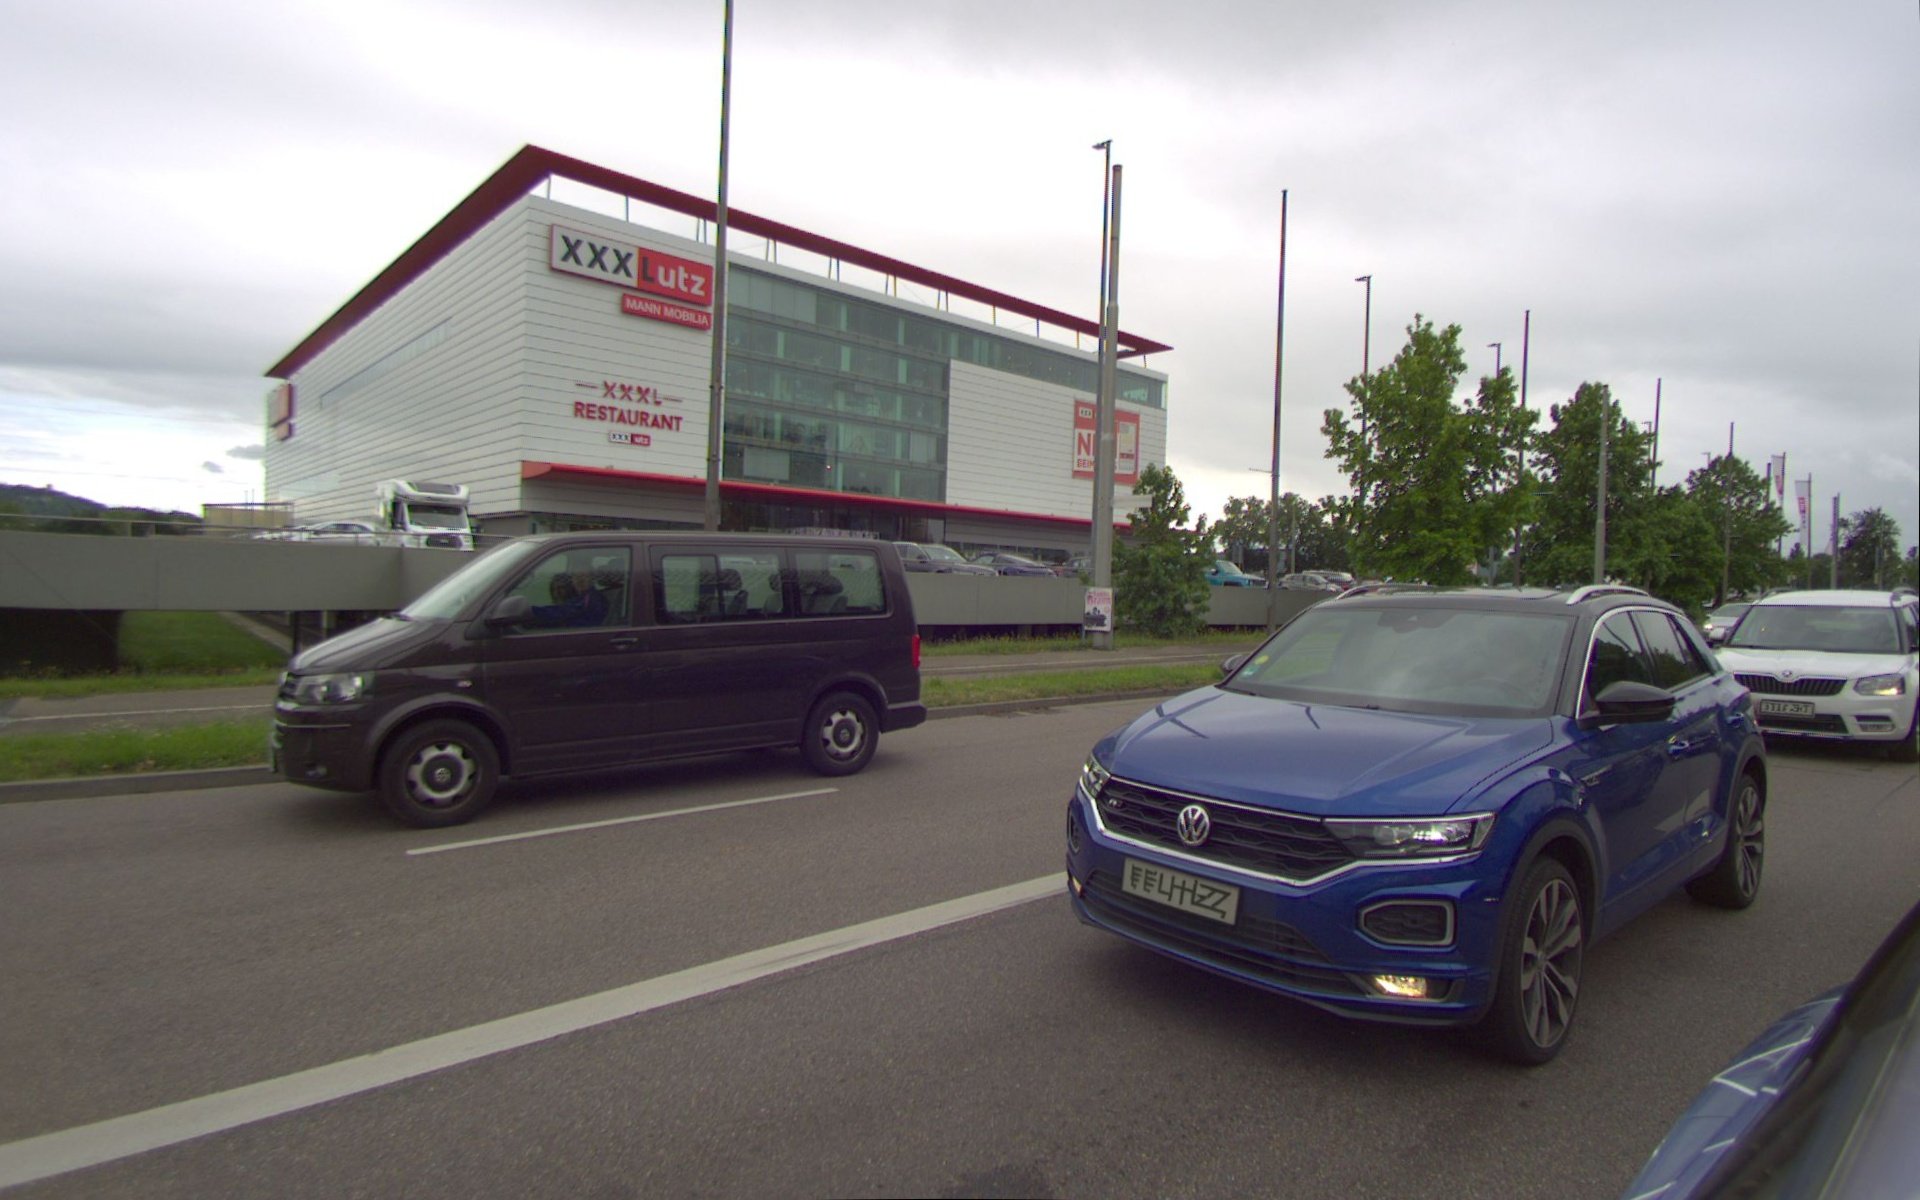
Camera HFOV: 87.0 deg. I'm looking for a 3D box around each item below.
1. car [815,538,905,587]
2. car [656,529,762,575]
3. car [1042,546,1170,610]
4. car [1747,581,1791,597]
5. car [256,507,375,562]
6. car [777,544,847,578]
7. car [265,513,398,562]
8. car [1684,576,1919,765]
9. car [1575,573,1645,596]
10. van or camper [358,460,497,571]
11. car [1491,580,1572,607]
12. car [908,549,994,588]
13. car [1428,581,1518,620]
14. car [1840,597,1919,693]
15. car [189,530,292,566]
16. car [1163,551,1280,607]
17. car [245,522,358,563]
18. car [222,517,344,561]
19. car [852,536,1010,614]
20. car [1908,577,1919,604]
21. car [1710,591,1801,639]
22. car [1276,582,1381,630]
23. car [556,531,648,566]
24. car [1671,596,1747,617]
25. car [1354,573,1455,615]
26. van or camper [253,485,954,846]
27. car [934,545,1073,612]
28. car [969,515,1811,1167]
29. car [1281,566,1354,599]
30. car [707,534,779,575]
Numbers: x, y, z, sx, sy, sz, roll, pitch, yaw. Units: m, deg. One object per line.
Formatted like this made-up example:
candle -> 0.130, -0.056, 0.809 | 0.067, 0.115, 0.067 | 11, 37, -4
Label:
car -> -4.494, -1.626, 45.030 | 1.965, 2.039, 4.174 | 0, 0, -41
car -> -8.742, -1.612, 35.077 | 1.839, 1.455, 3.984 | -1, 1, -44
car -> 4.901, -0.706, 34.385 | 1.966, 2.039, 3.991 | 0, 0, -42
car -> 97.246, -1.337, 121.703 | 3.987, 1.819, 1.969 | 3, 1, 44
car -> -26.665, -2.665, 41.913 | 3.929, 2.039, 1.998 | -1, 0, -40
car -> -8.379, -2.174, 57.063 | 1.967, 1.761, 3.991 | -1, 0, -43
car -> -24.310, -2.374, 39.223 | 4.185, 1.697, 1.774 | -1, 0, -41
car -> 9.491, 0.591, 10.871 | 4.297, 1.645, 1.798 | -1, 0, -40
car -> 47.506, -1.111, 73.994 | 1.765, 1.585, 3.994 | -1, 0, -40
van or camper -> -17.996, -2.637, 33.951 | 2.667, 3.175, 7.226 | 0, 0, -40
car -> 35.032, -0.413, 62.143 | 1.765, 1.585, 3.994 | -1, 0, -40
car -> -0.453, -1.467, 48.770 | 1.967, 1.761, 3.991 | -1, 0, -43
car -> 28.058, 0.017, 55.415 | 1.965, 2.039, 3.994 | 0, 0, -41
car -> 16.223, 0.690, 16.864 | 4.145, 1.433, 1.800 | -1, 0, -41
car -> -36.775, -2.628, 51.778 | 4.185, 1.697, 1.774 | -1, 0, -41
car -> 10.071, -0.779, 39.180 | 1.966, 2.039, 3.991 | 0, 0, -42
car -> -30.171, -2.612, 46.418 | 4.185, 1.697, 1.774 | -1, 0, -41
car -> -29.045, -2.590, 43.483 | 4.185, 1.697, 1.774 | -1, 0, -41
car -> -0.896, -0.672, 28.628 | 1.967, 2.039, 4.522 | 0, 0, -43
car -> 82.931, -0.804, 86.865 | 3.933, 2.270, 1.996 | 1, 1, -44
car -> 25.009, 0.428, 31.775 | 3.860, 1.389, 1.691 | -1, 1, -43
car -> 16.413, 0.231, 45.180 | 1.966, 2.039, 3.991 | 0, 0, -42
car -> -18.716, -2.662, 53.012 | 4.185, 1.697, 1.774 | -1, 0, -41
car -> 54.455, 0.438, 73.609 | 1.771, 1.433, 4.212 | -1, 1, -41
car -> 22.651, -0.329, 51.634 | 1.966, 2.039, 4.317 | 0, 0, -42
van or camper -> -2.625, 0.340, 8.065 | 4.852, 2.039, 2.163 | -1, 0, -38
car -> 1.263, -0.619, 30.622 | 1.967, 1.872, 3.991 | -1, 0, -43
car -> 2.246, 0.581, 4.640 | 4.255, 1.642, 1.845 | -1, 0, -40
car -> 22.895, -1.092, 64.934 | 1.966, 2.039, 3.991 | 0, 0, -42
car -> -11.454, -2.350, 53.298 | 1.966, 2.039, 3.991 | 0, 0, -42
